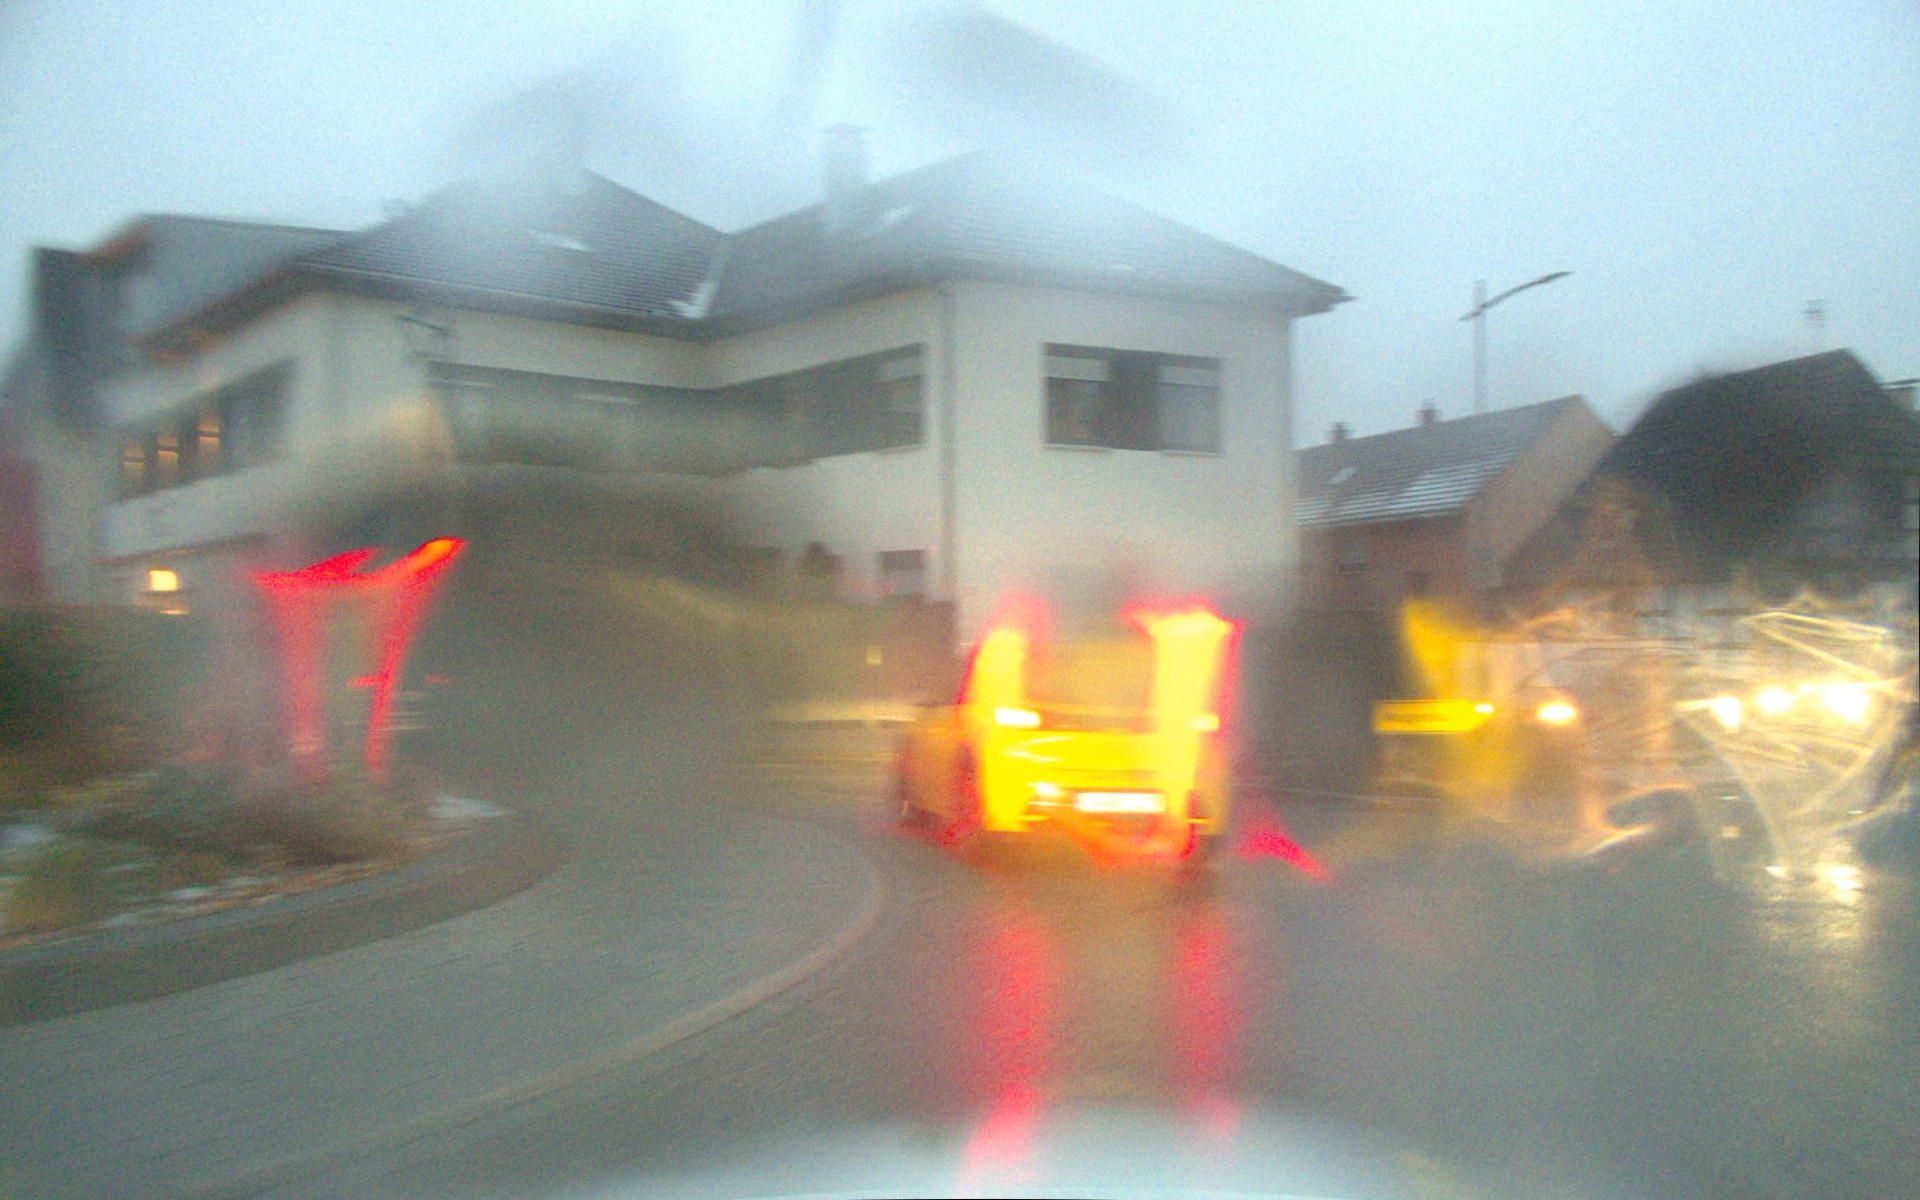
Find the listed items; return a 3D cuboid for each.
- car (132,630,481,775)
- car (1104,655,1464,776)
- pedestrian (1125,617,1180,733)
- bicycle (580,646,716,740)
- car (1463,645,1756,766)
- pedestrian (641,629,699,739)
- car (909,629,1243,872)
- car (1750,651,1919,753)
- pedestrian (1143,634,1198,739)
[{"bbox_3d":[-8.217,1.218,20.820,3.858,1.643,1.921,0,-1,24],"label":"car"},{"bbox_3d":[4.093,1.428,20.958,4.162,1.408,1.838,1,-4,-22],"label":"car"},{"bbox_3d":[3.169,1.225,27.282,0.703,1.864,0.635,1,0,-16],"label":"pedestrian"},{"bbox_3d":[-4.583,1.352,24.341,1.895,1.318,0.552,0,0,10],"label":"bicycle"},{"bbox_3d":[9.201,1.451,23.412,3.940,1.579,1.682,1,-3,-27],"label":"car"},{"bbox_3d":[-4.301,1.235,24.540,0.674,1.592,0.610,0,0,8],"label":"pedestrian"},{"bbox_3d":[0.652,0.965,11.972,1.677,1.447,4.006,1,-2,-7],"label":"car"},{"bbox_3d":[14.840,1.595,26.601,4.195,1.535,1.681,1,-3,-28],"label":"car"},{"bbox_3d":[3.370,1.375,26.521,0.703,1.650,0.580,1,-1,-16],"label":"pedestrian"}]
